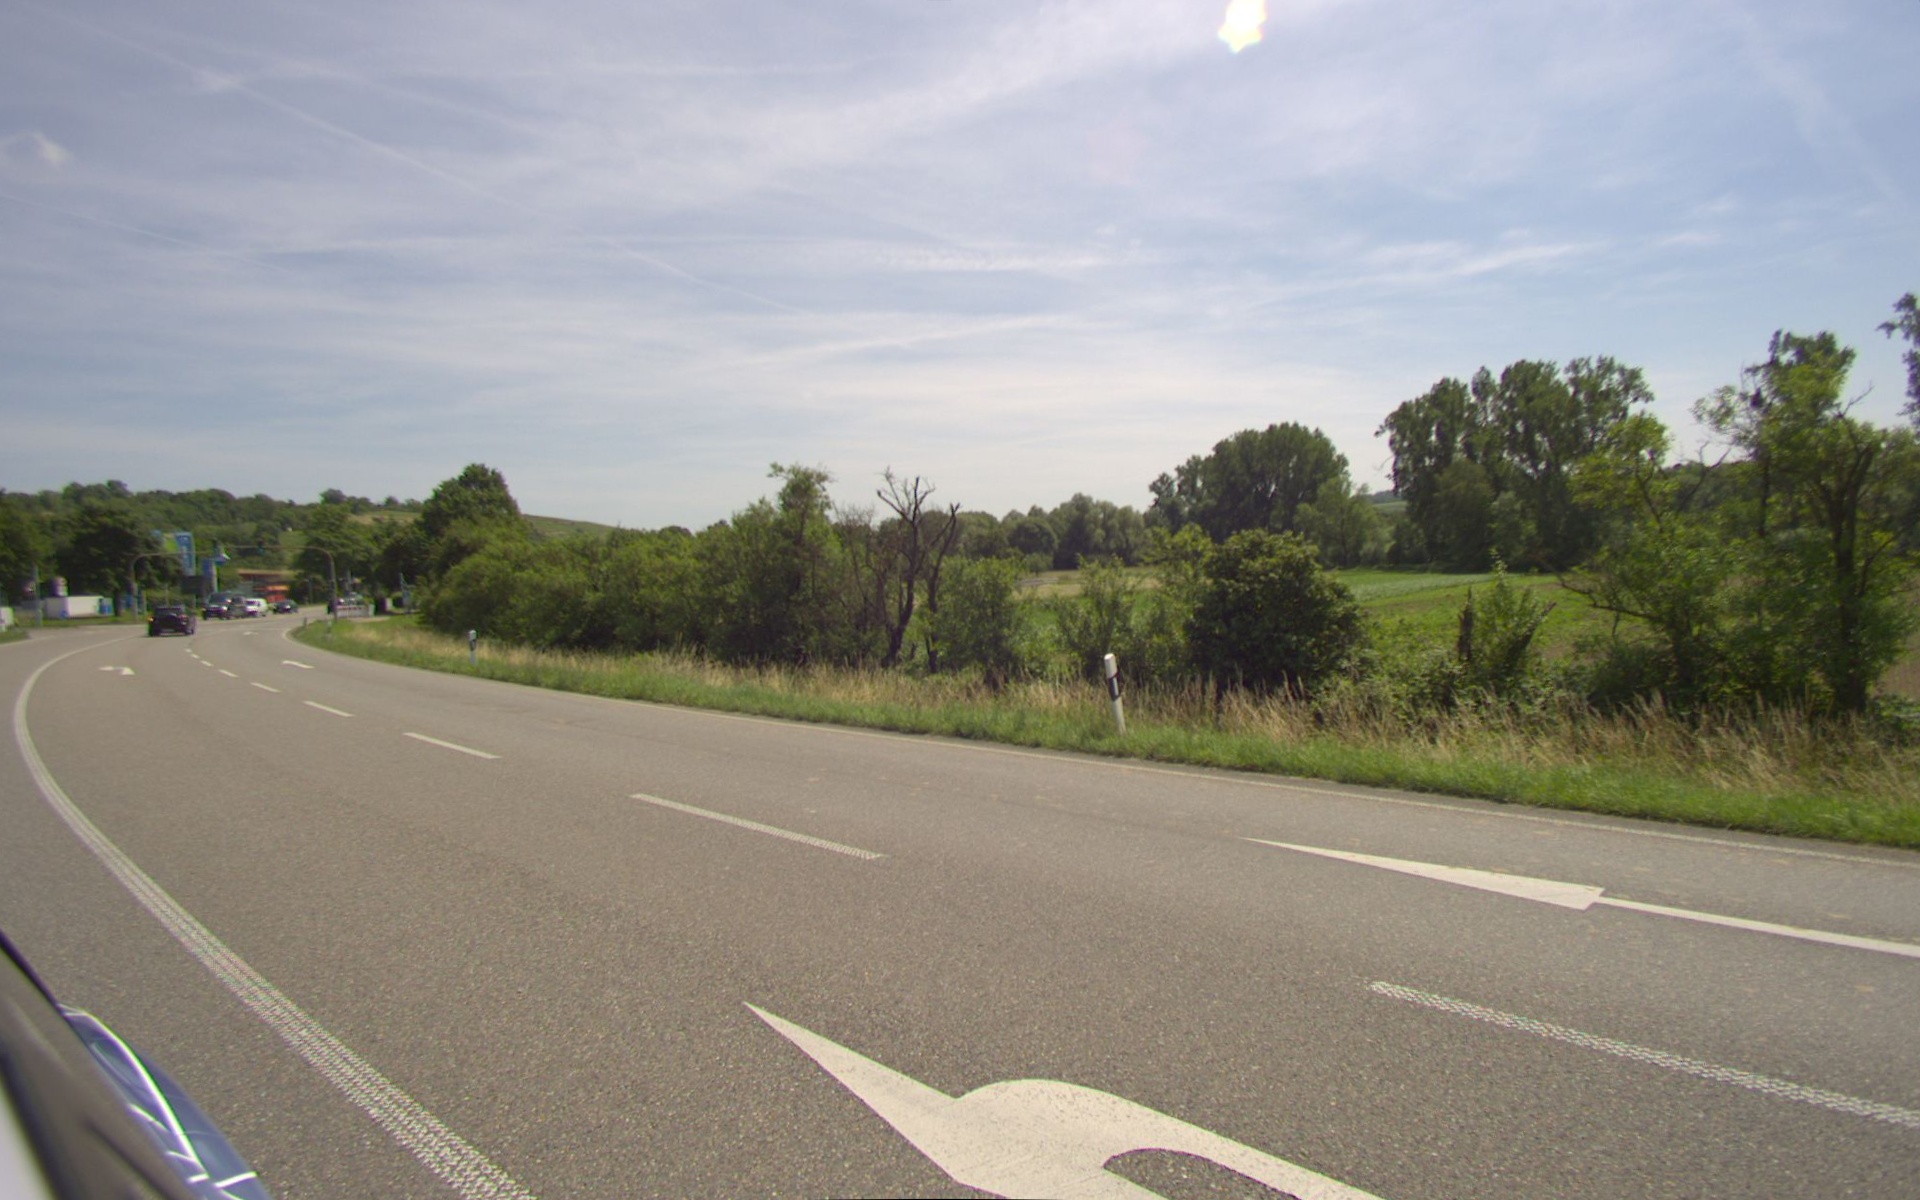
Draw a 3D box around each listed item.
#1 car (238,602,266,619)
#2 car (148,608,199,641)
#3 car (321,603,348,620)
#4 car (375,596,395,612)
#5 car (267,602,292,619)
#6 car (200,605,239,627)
[{"bbox_3d":[-70.585,1.071,100.948,1.754,1.504,4.171,-2,2,-29],"label":"car"},{"bbox_3d":[-43.905,1.329,56.565,1.747,1.671,4.012,-1,1,-31],"label":"car"},{"bbox_3d":[-67.412,1.220,109.081,1.965,1.708,4.013,0,1,-24],"label":"car"},{"bbox_3d":[-77.113,0.551,135.755,1.966,2.021,5.181,-1,1,-25],"label":"car"},{"bbox_3d":[-75.312,1.149,112.066,1.779,1.746,4.013,-2,0,-26],"label":"car"},{"bbox_3d":[-67.345,1.391,92.112,1.779,1.745,4.013,-2,2,-19],"label":"car"}]
